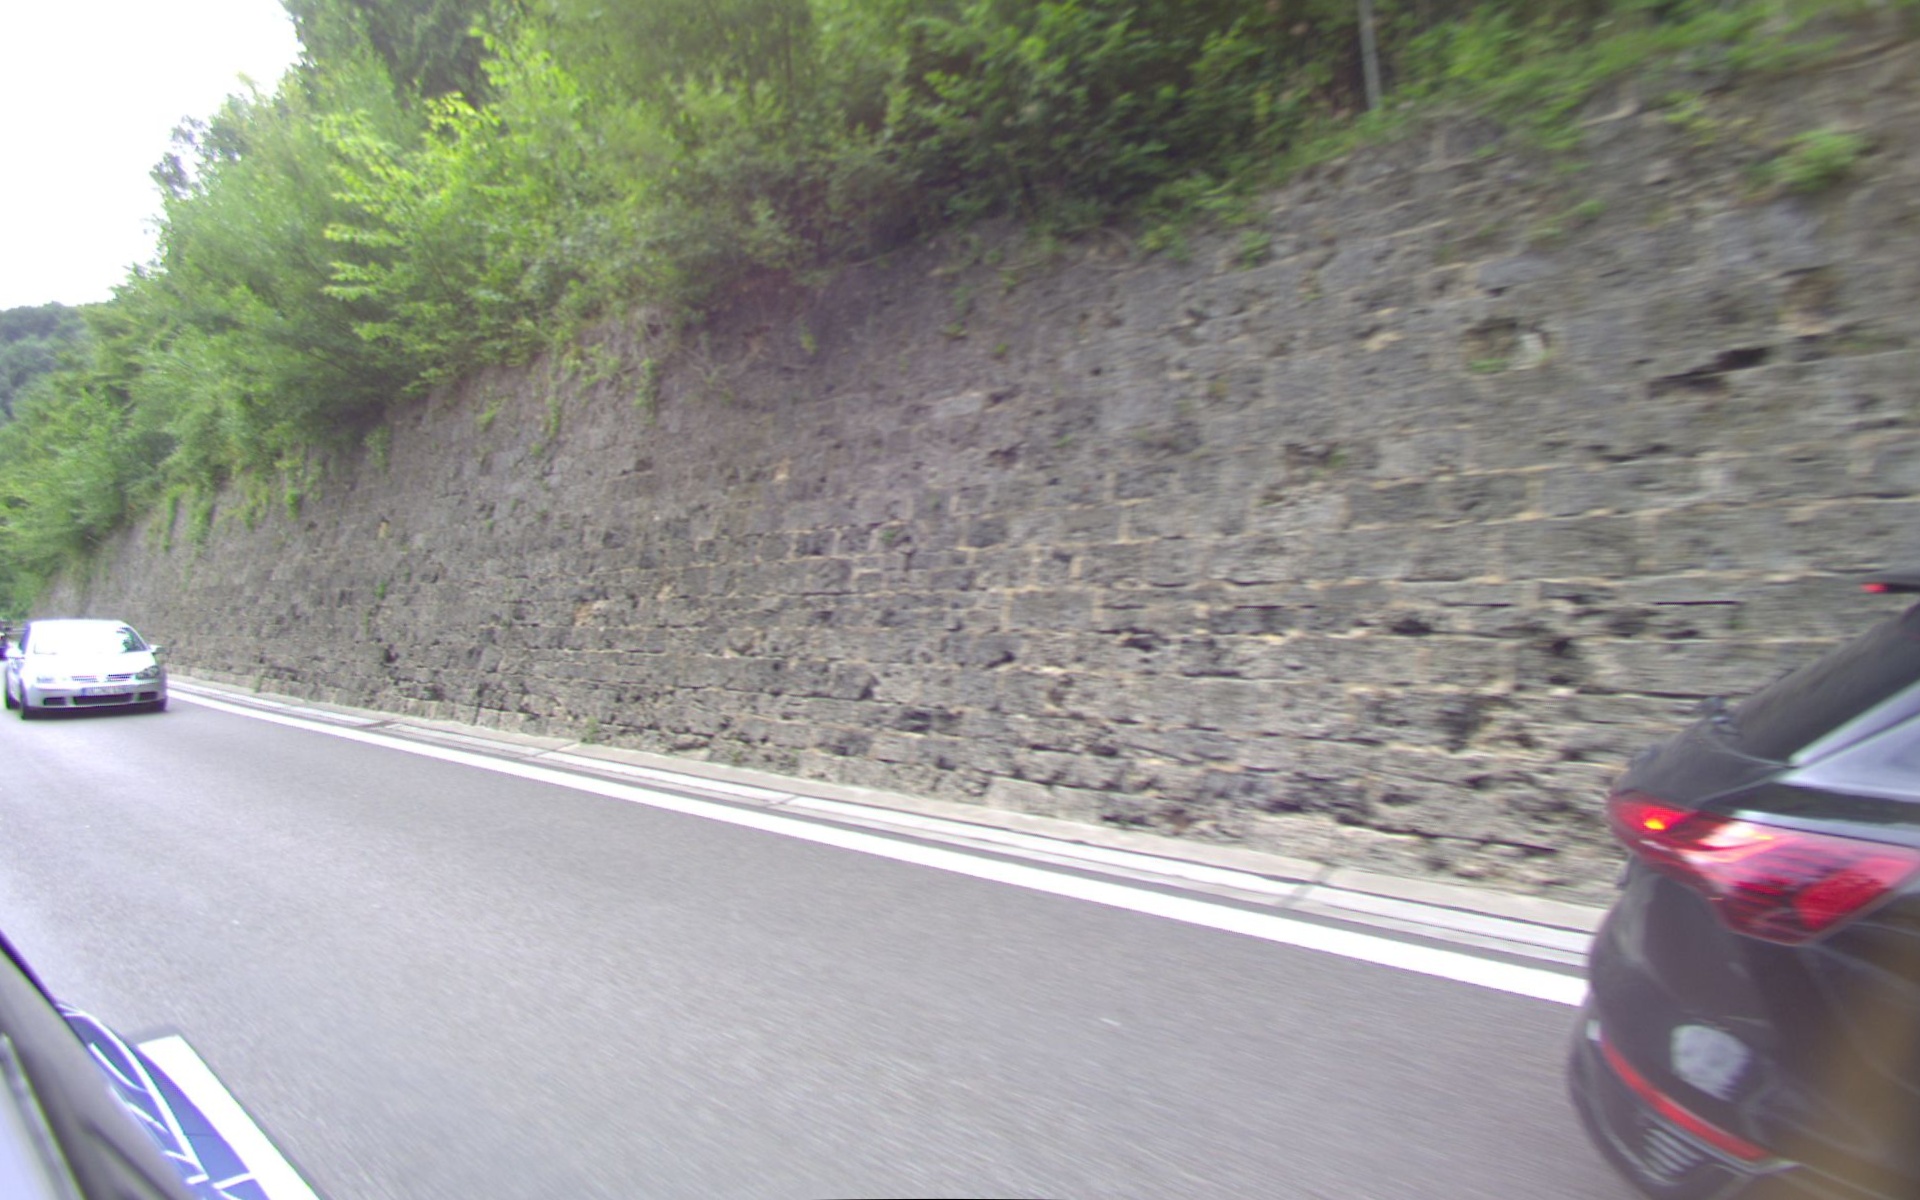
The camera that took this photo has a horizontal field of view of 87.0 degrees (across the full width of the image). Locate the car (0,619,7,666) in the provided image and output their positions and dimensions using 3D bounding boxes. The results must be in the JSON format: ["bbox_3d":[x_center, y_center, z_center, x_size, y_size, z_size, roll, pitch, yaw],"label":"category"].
[{"bbox_3d":[-36.184,1.568,36.914,4.584,1.668,1.788,-2,0,44],"label":"car"}]

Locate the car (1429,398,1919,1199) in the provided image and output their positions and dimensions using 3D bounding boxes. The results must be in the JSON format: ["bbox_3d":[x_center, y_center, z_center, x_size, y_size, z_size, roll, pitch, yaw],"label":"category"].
[{"bbox_3d":[3.298,0.544,0.756,5.005,1.644,1.973,-2,-2,41],"label":"car"}]

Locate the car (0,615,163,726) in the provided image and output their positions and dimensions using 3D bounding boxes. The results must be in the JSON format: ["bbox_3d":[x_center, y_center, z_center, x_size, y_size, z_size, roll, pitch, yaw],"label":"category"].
[{"bbox_3d":[-14.547,1.055,16.574,4.583,1.526,1.663,-2,0,43],"label":"car"}]
